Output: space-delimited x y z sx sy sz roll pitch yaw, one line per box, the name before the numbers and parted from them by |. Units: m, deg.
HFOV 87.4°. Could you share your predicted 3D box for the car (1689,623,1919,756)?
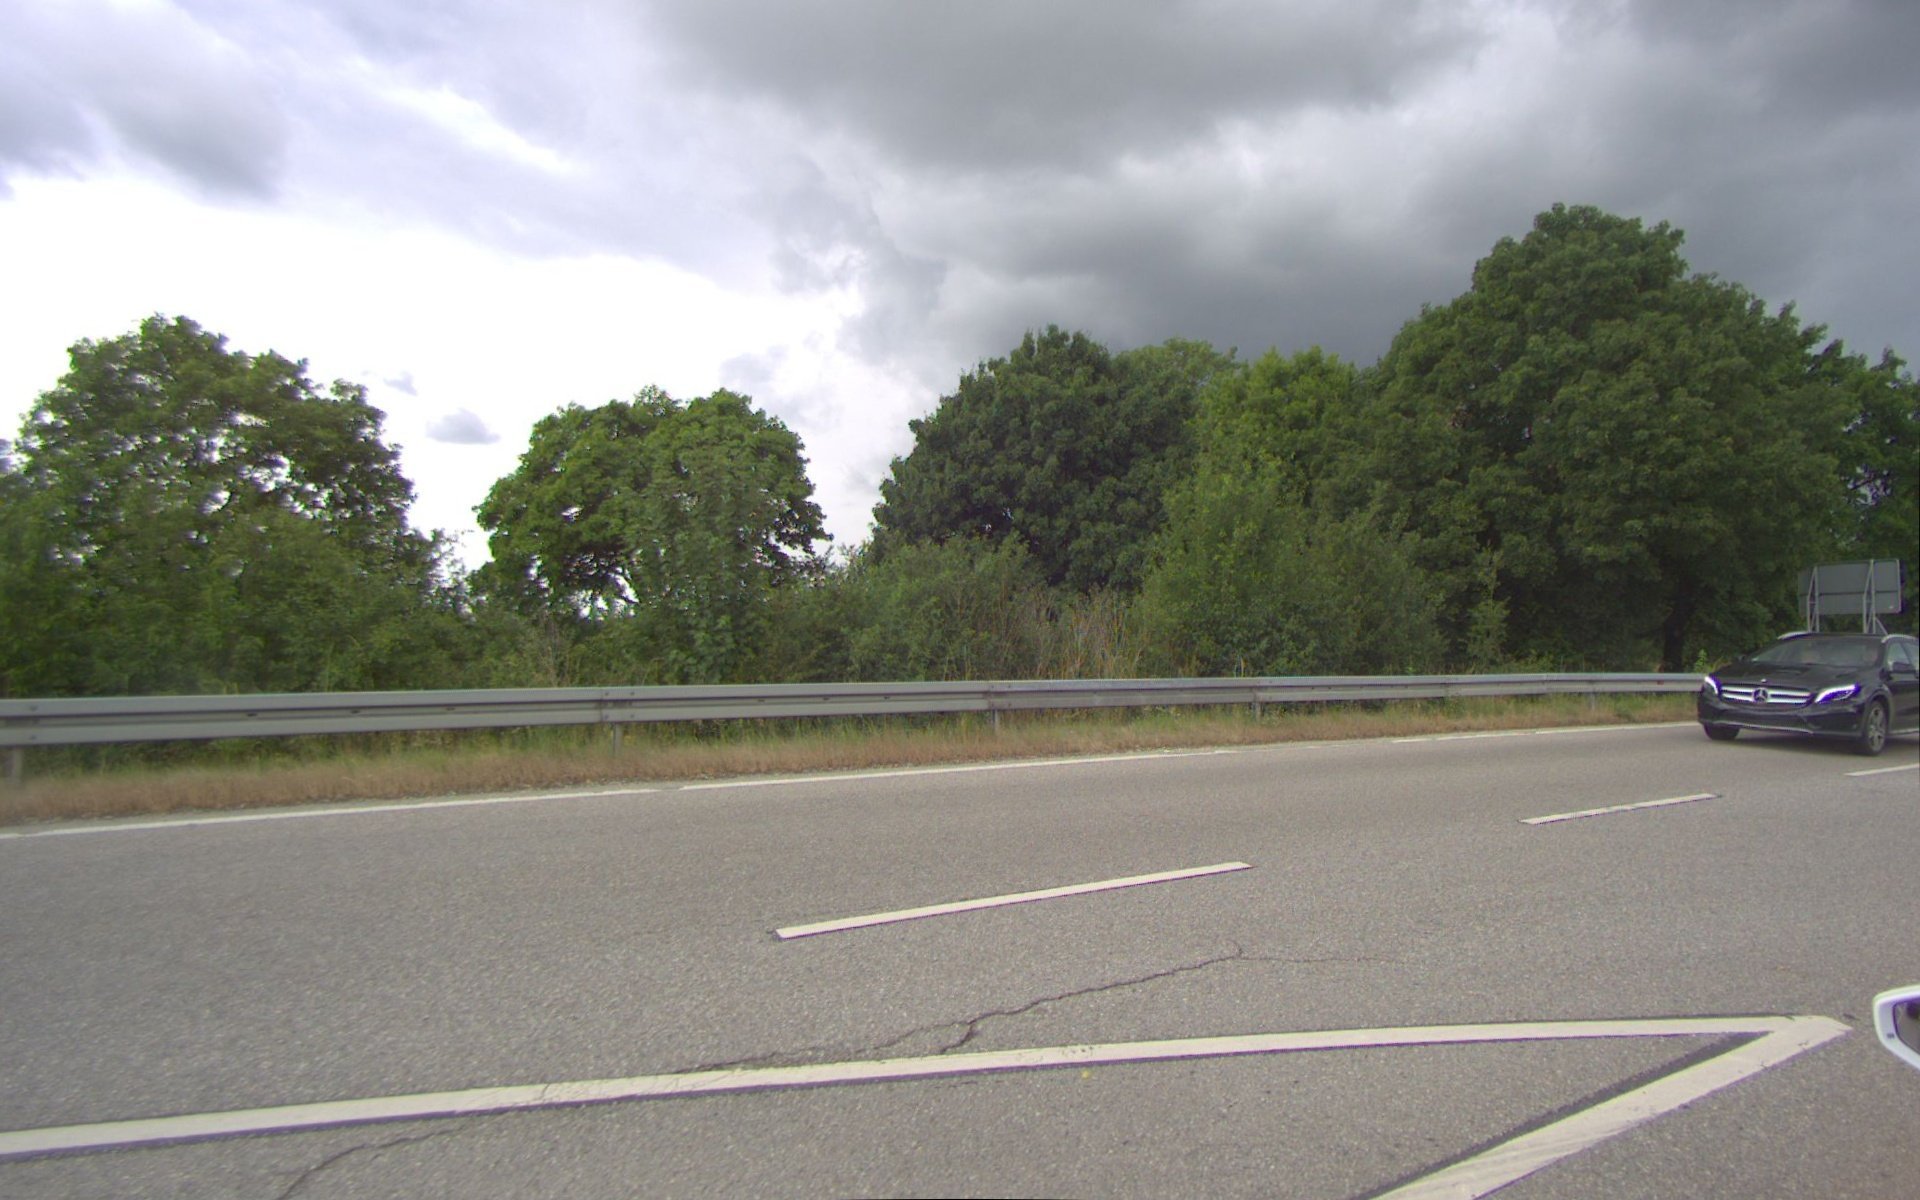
car | 11.835 1.129 13.628 3.953 1.543 1.703 2 -1 -30
